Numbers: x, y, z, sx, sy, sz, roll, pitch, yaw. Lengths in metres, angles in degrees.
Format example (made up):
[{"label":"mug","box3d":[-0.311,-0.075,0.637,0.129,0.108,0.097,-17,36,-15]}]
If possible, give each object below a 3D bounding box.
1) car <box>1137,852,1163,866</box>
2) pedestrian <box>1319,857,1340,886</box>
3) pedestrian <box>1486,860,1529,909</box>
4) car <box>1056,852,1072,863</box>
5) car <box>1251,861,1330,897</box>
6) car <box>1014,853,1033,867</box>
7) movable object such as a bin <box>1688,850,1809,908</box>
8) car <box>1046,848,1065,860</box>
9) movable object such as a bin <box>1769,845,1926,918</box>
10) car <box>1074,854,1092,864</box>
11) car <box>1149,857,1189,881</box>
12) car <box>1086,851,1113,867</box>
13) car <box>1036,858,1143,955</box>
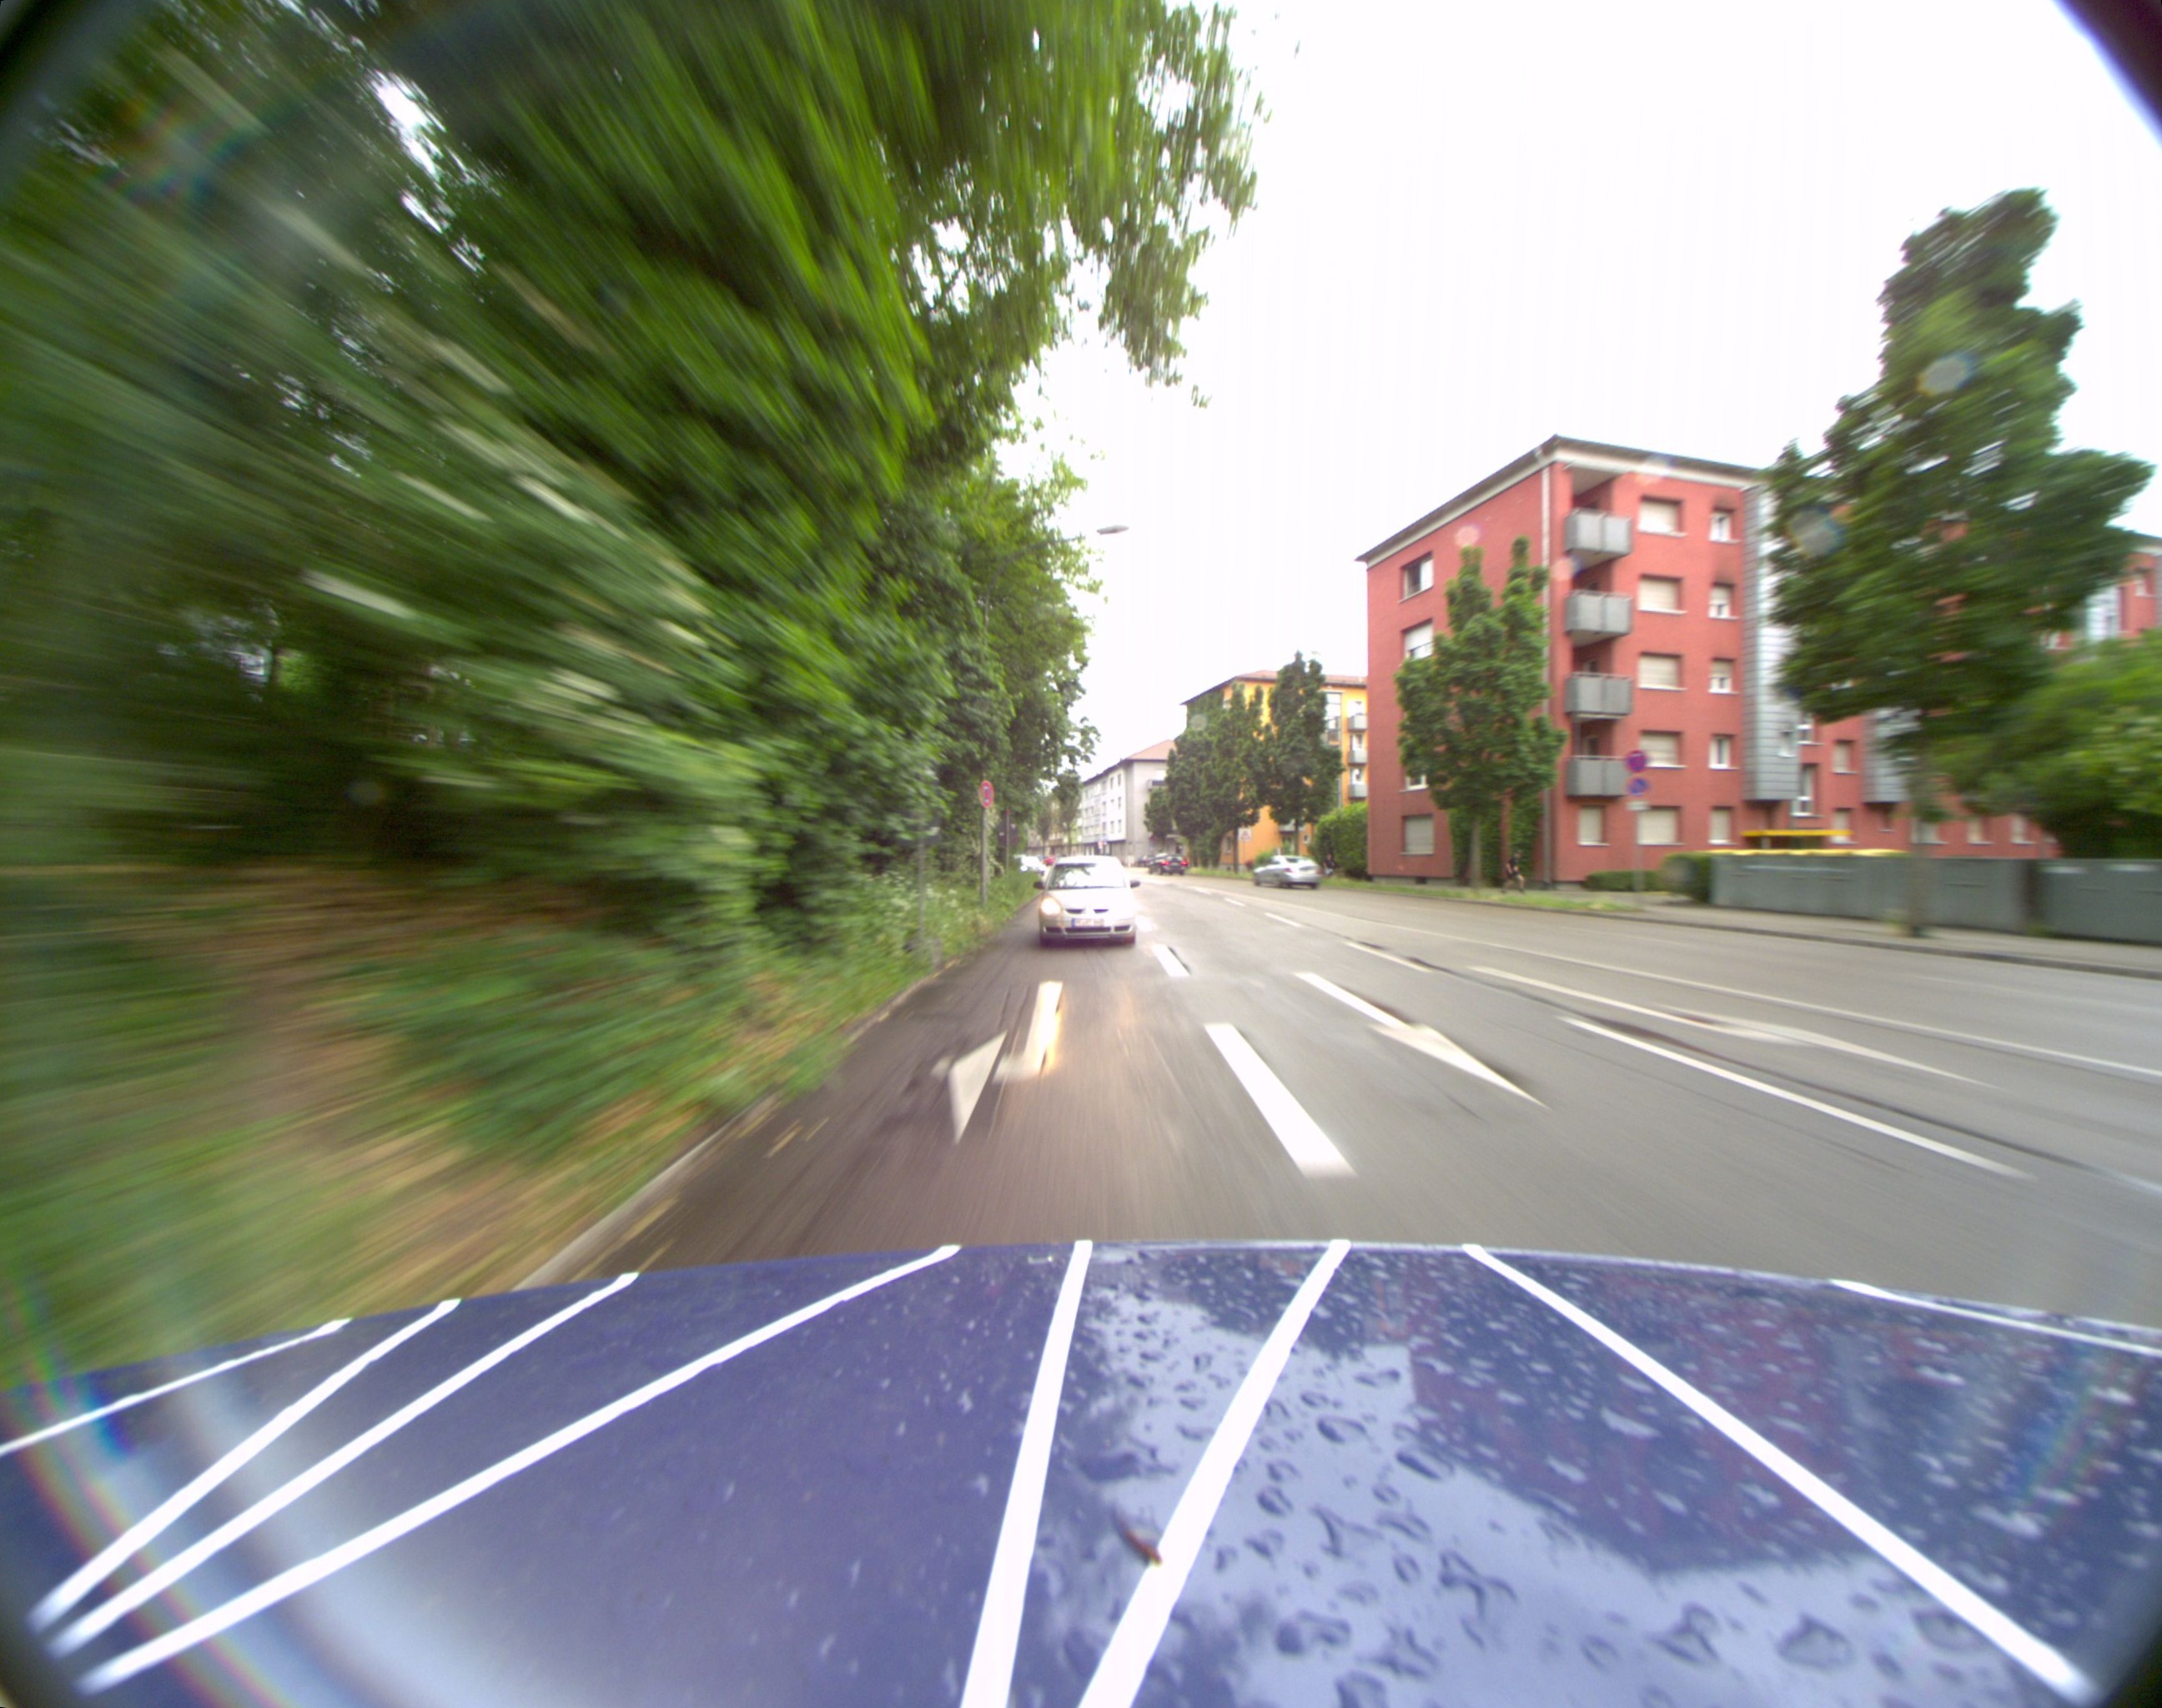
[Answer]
[{"label":"car","box3d":[8.084,0.540,89.828,1.857,1.477,4.630,-3,1,-11]},{"label":"pedestrian","box3d":[12.342,0.872,37.792,0.673,1.441,0.835,0,0,-9]},{"label":"pedestrian","box3d":[13.673,0.962,24.401,0.694,1.508,1.069,0,0,-9]},{"label":"car","box3d":[-2.800,0.553,124.028,1.906,1.859,4.311,-1,1,-11]},{"label":"car","box3d":[9.104,1.053,33.476,1.879,1.382,4.625,1,0,-4]},{"label":"car","box3d":[-6.668,0.681,87.398,1.737,1.590,3.996,-1,1,-10]},{"label":"movable object such as a bin","box3d":[16.235,0.581,18.563,1.161,1.323,1.965,0,0,-6]},{"label":"car","box3d":[-3.260,0.025,96.289,1.682,1.553,4.137,0,0,-13]},{"label":"movable object such as a bin","box3d":[16.442,0.551,16.395,1.219,1.476,2.086,0,0,-6]},{"label":"car","box3d":[0.219,0.712,104.221,1.728,1.376,3.922,0,0,-11]},{"label":"car","box3d":[6.343,1.079,55.473,1.880,1.593,4.461,1,0,-7]},{"label":"car","box3d":[1.607,0.464,69.100,1.847,1.377,4.357,1,0,-7]},{"label":"car","box3d":[0.168,0.884,14.524,1.755,1.586,4.169,0,-1,1]}]
